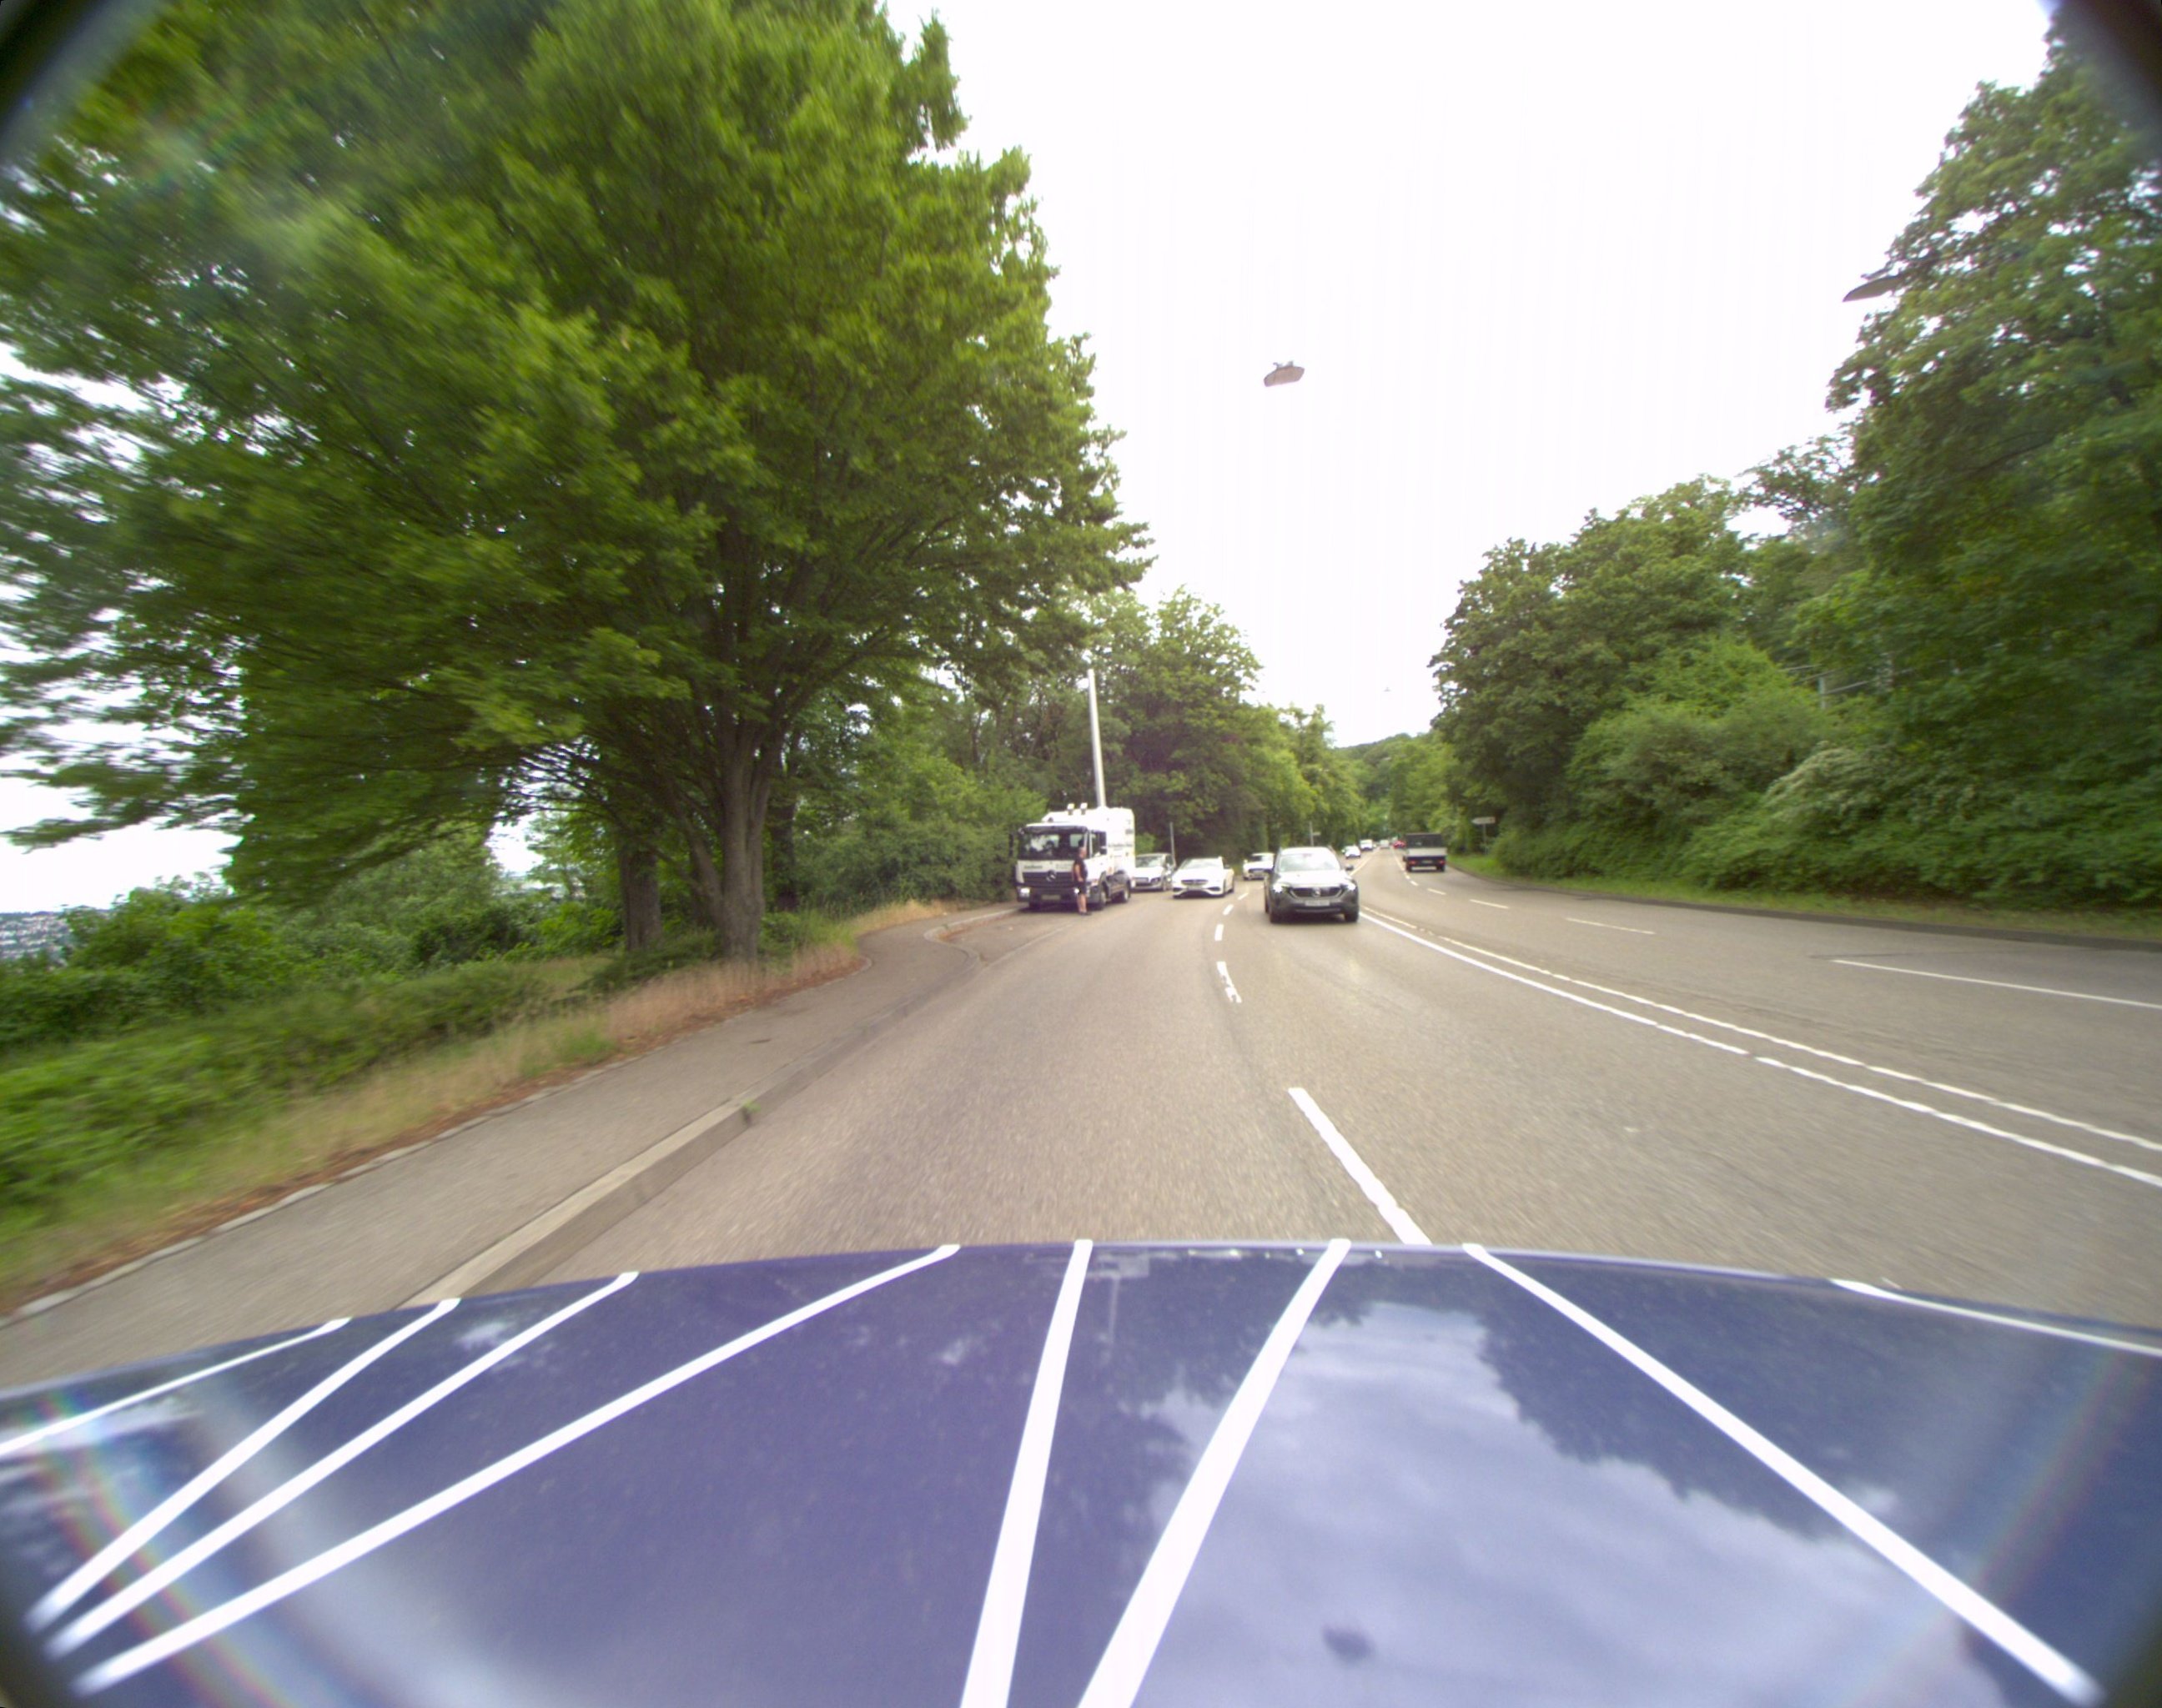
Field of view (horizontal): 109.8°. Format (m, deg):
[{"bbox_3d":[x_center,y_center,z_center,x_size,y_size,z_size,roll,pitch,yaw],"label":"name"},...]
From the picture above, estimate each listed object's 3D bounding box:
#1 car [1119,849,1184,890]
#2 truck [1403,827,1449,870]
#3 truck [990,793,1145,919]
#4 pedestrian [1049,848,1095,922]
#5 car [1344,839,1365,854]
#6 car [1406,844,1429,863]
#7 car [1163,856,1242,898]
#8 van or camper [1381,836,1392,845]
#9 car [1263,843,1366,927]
[{"bbox_3d":[3.155,0.615,33.116,1.805,1.515,4.005,-4,0,19],"label":"car"},{"bbox_3d":[20.617,-0.339,45.631,2.162,2.357,6.688,-1,1,22],"label":"truck"},{"bbox_3d":[-0.103,0.023,23.632,2.486,3.162,7.237,-5,0,17],"label":"truck"},{"bbox_3d":[-0.213,0.764,19.260,0.918,1.823,0.985,0,0,14],"label":"pedestrian"},{"bbox_3d":[32.769,-0.909,91.165,1.696,1.573,4.003,-5,0,11],"label":"car"},{"bbox_3d":[30.149,-0.084,68.137,1.857,1.685,4.443,1,1,23],"label":"car"},{"bbox_3d":[4.448,0.777,27.271,1.894,1.289,4.333,-1,1,22],"label":"car"},{"bbox_3d":[66.970,-2.966,166.555,1.994,2.003,5.376,4,3,23],"label":"van or camper"},{"bbox_3d":[5.231,0.618,17.504,1.869,1.653,4.196,-2,1,12],"label":"car"}]
